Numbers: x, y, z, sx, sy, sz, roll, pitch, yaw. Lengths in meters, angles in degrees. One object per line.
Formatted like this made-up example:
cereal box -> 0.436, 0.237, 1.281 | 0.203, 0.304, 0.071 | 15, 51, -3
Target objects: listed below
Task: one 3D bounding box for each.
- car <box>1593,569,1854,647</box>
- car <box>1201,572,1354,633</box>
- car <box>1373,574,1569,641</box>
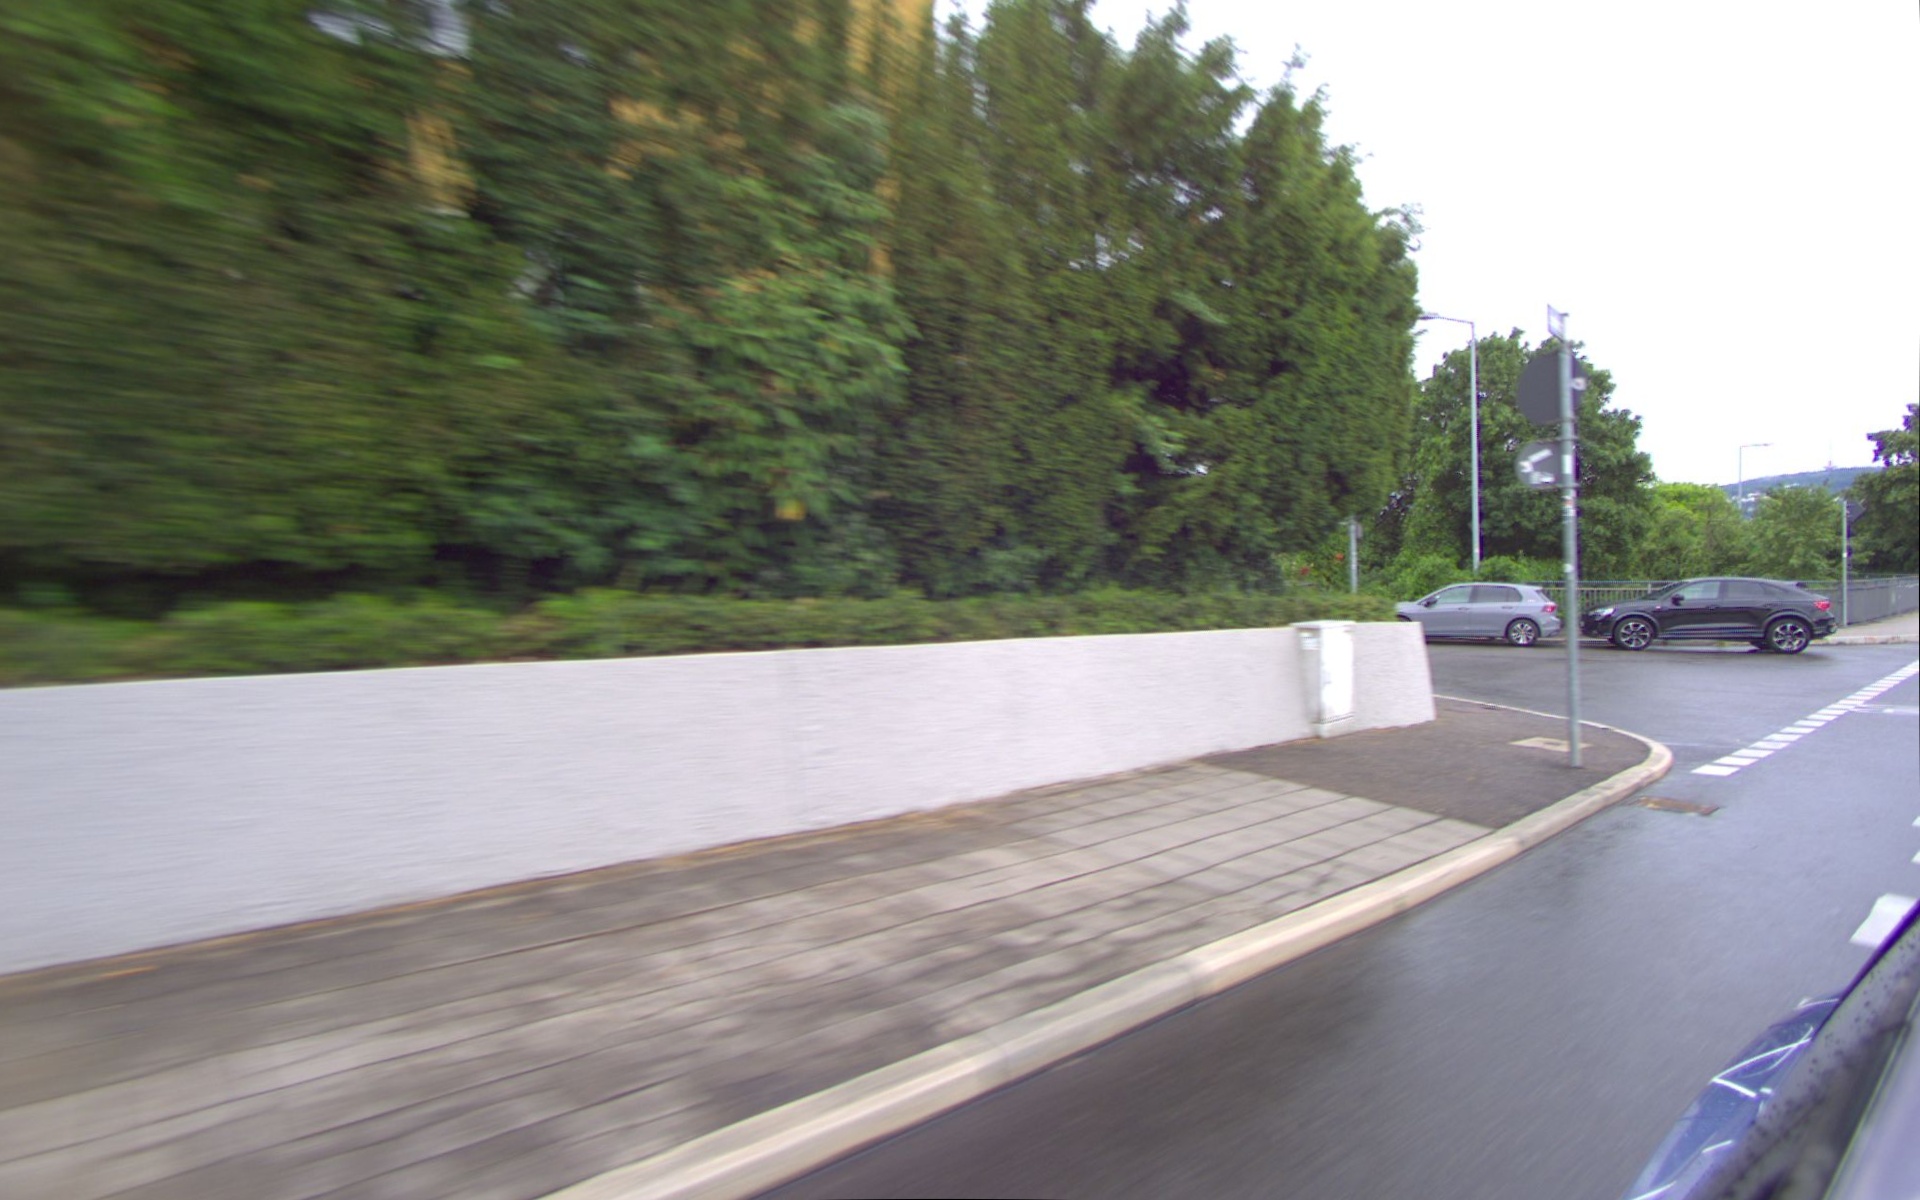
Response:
car -> 16.278, 0.151, 21.882 | 4.160, 1.542, 1.982 | 0, 1, 27
car -> 8.565, 0.006, 27.547 | 1.807, 1.507, 3.601 | -1, 2, -37
car -> 12.086, 0.156, 24.115 | 4.019, 1.442, 1.784 | 0, 2, 28
